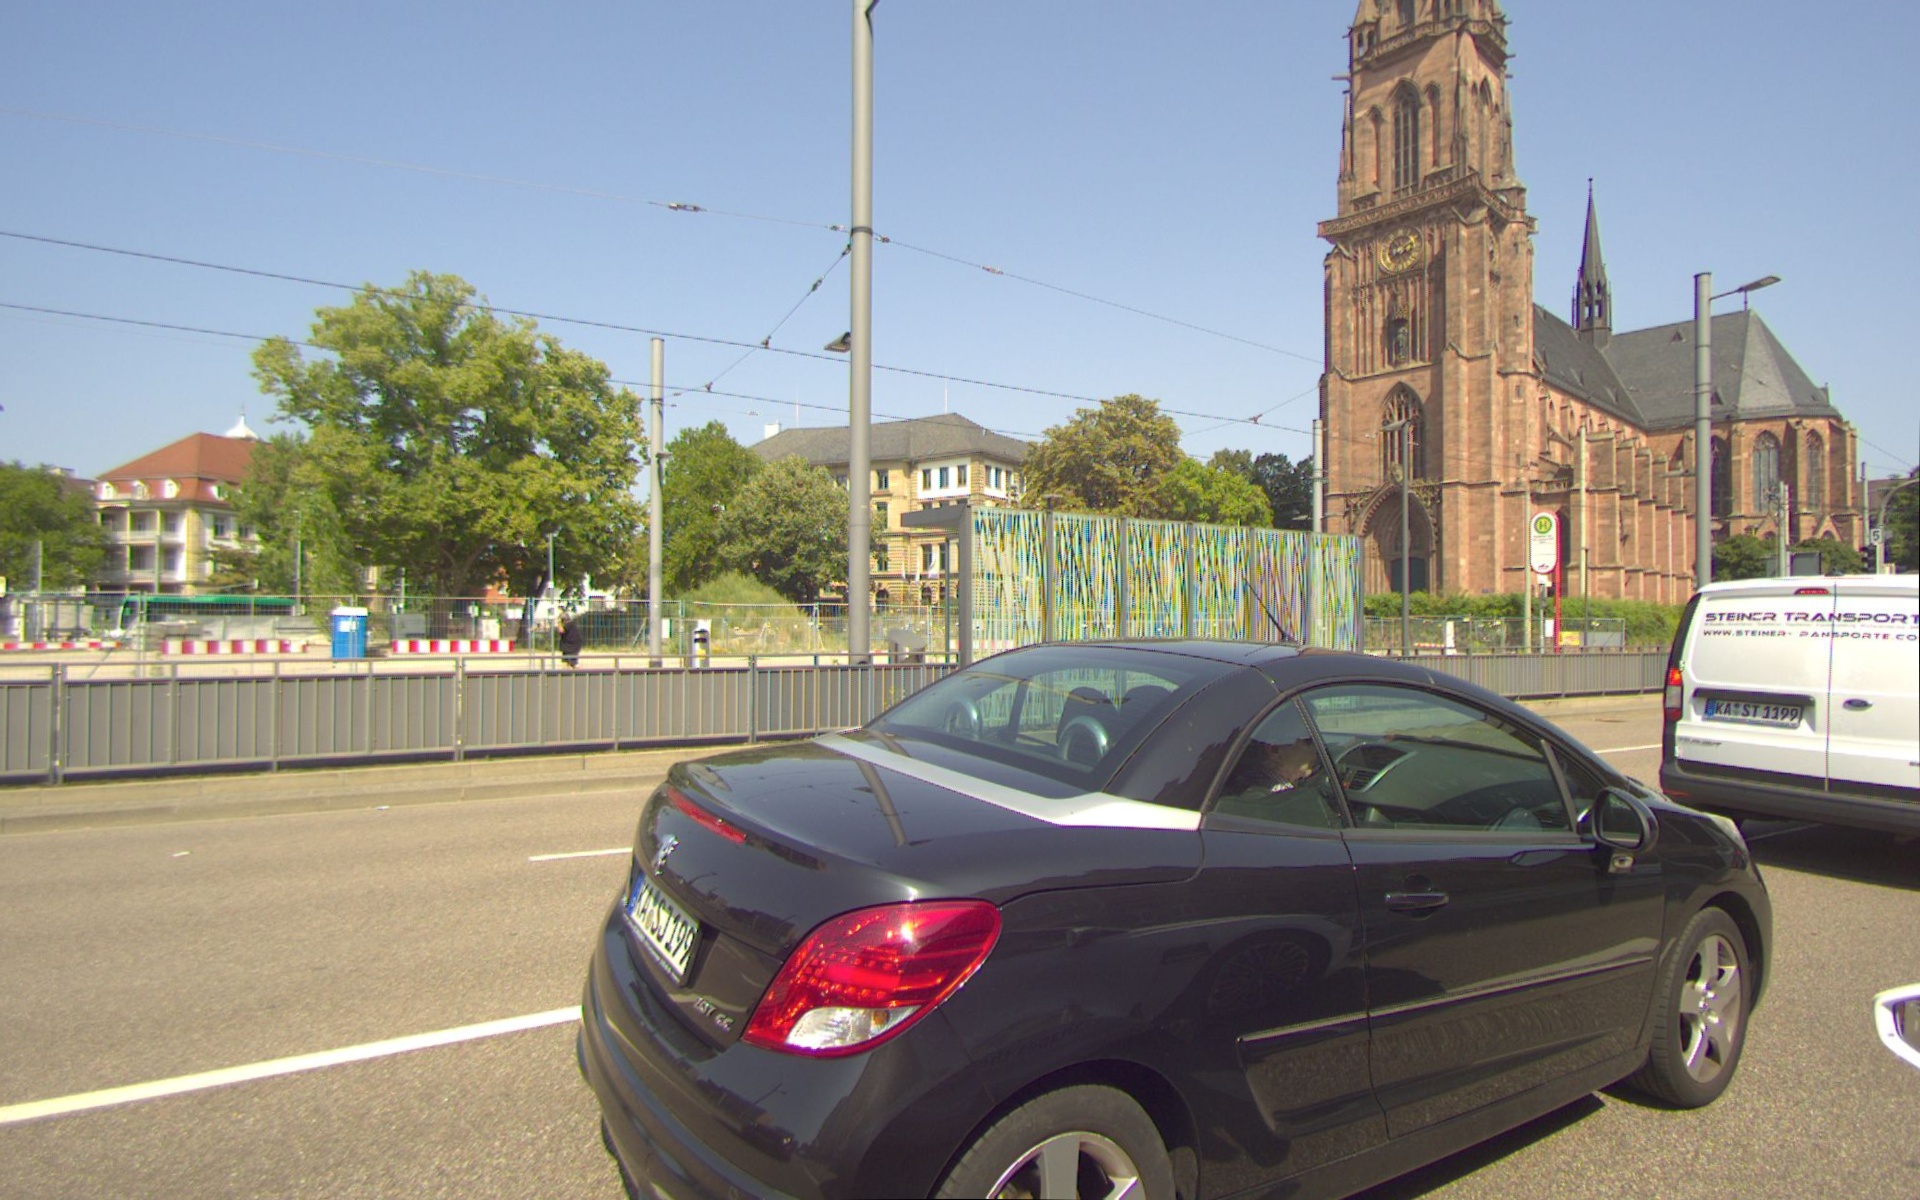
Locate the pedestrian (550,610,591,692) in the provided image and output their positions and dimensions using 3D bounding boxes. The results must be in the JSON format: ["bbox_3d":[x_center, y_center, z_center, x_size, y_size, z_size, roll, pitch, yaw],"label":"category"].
[{"bbox_3d":[-8.813,1.149,22.702,0.752,1.811,0.740,1,-2,-30],"label":"pedestrian"}]

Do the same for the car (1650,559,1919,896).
[{"bbox_3d":[6.827,0.739,7.012,4.190,1.844,1.739,1,-1,-31],"label":"car"}]

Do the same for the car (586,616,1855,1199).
[{"bbox_3d":[0.969,0.801,3.121,3.758,1.432,1.679,1,0,-31],"label":"car"}]
